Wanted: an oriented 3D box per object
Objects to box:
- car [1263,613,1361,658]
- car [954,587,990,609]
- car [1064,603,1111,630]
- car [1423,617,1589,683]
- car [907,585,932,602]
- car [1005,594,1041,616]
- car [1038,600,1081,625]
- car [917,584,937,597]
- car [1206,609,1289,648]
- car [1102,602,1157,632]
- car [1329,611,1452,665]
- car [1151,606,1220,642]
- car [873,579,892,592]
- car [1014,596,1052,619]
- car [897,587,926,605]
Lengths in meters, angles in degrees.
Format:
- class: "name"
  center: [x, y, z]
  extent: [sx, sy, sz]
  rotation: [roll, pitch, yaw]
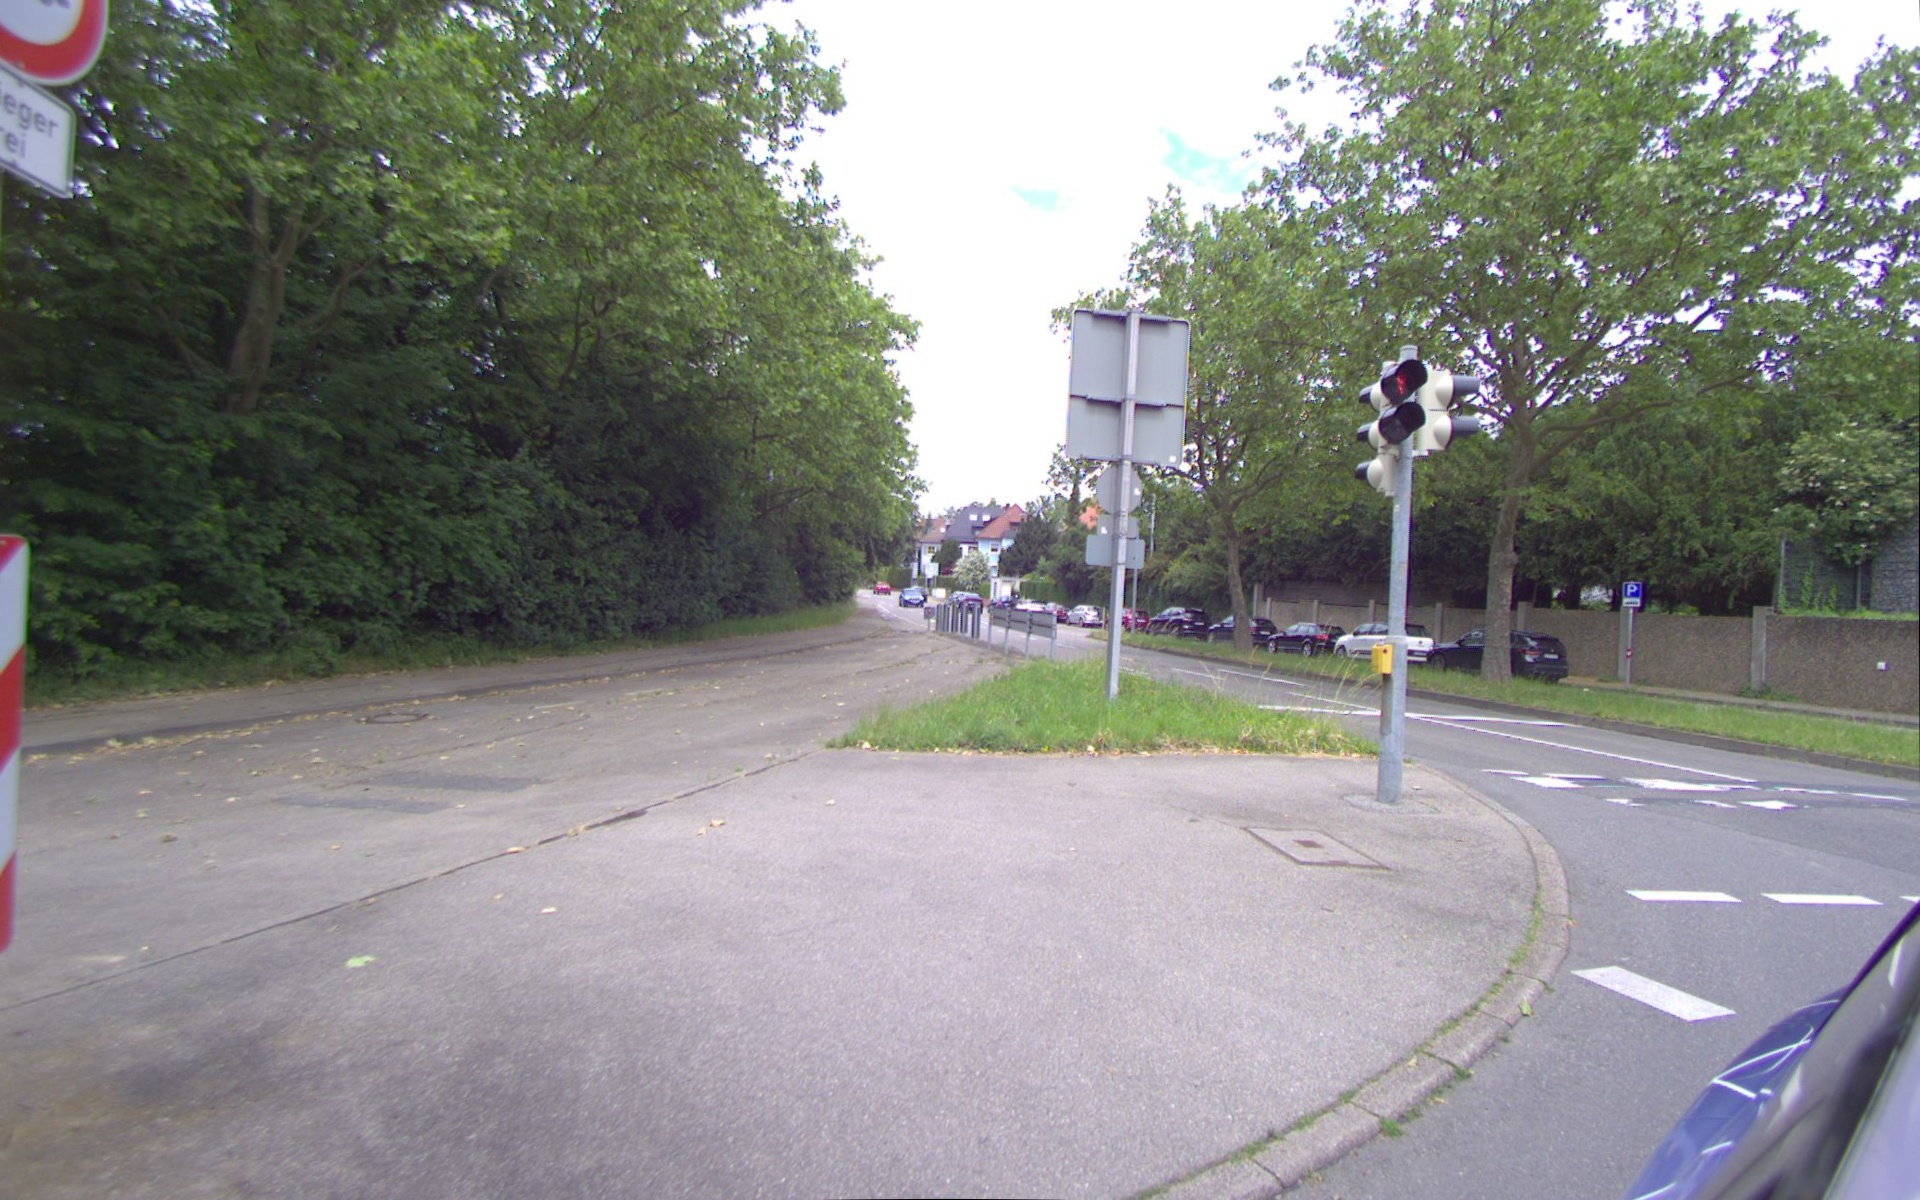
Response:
- class: "car"
  center: [14.217, 1.401, 41.136]
  extent: [1.760, 1.524, 4.047]
  rotation: [5, 0, -14]
- class: "car"
  center: [0.924, -0.184, 82.364]
  extent: [1.760, 1.636, 4.596]
  rotation: [5, 0, -13]
- class: "car"
  center: [8.192, 1.048, 65.506]
  extent: [1.651, 1.524, 3.839]
  rotation: [5, 0, -14]
- class: "car"
  center: [16.619, 1.476, 31.084]
  extent: [1.759, 1.636, 4.472]
  rotation: [5, 0, -17]
- class: "car"
  center: [-4.208, -0.677, 104.445]
  extent: [1.806, 1.636, 3.921]
  rotation: [5, 0, -13]
- class: "car"
  center: [4.991, 0.394, 80.773]
  extent: [1.651, 1.524, 3.839]
  rotation: [5, 0, -14]
- class: "car"
  center: [6.962, 0.856, 71.093]
  extent: [1.651, 1.524, 3.839]
  rotation: [5, 0, -14]
- class: "car"
  center: [-3.757, -1.071, 115.382]
  extent: [1.652, 1.346, 3.838]
  rotation: [2, 0, -10]
- class: "car"
  center: [13.055, 1.272, 46.186]
  extent: [1.760, 1.524, 4.047]
  rotation: [5, 0, -14]
- class: "car"
  center: [9.855, 0.957, 59.113]
  extent: [1.651, 1.524, 3.839]
  rotation: [5, 0, -14]
- class: "car"
  center: [15.443, 1.316, 36.589]
  extent: [1.759, 1.636, 4.227]
  rotation: [5, 0, -15]
- class: "car"
  center: [11.503, 1.177, 51.831]
  extent: [1.759, 1.624, 4.047]
  rotation: [3, 0, -14]
- class: "car"
  center: [-9.781, -1.828, 127.433]
  extent: [1.651, 1.524, 3.839]
  rotation: [5, 0, -14]
- class: "car"
  center: [5.526, 0.529, 77.127]
  extent: [1.651, 1.524, 3.839]
  rotation: [5, 0, -14]
- class: "car"
  center: [-4.378, -0.397, 90.698]
  extent: [1.760, 1.447, 4.156]
  rotation: [5, 0, -13]
